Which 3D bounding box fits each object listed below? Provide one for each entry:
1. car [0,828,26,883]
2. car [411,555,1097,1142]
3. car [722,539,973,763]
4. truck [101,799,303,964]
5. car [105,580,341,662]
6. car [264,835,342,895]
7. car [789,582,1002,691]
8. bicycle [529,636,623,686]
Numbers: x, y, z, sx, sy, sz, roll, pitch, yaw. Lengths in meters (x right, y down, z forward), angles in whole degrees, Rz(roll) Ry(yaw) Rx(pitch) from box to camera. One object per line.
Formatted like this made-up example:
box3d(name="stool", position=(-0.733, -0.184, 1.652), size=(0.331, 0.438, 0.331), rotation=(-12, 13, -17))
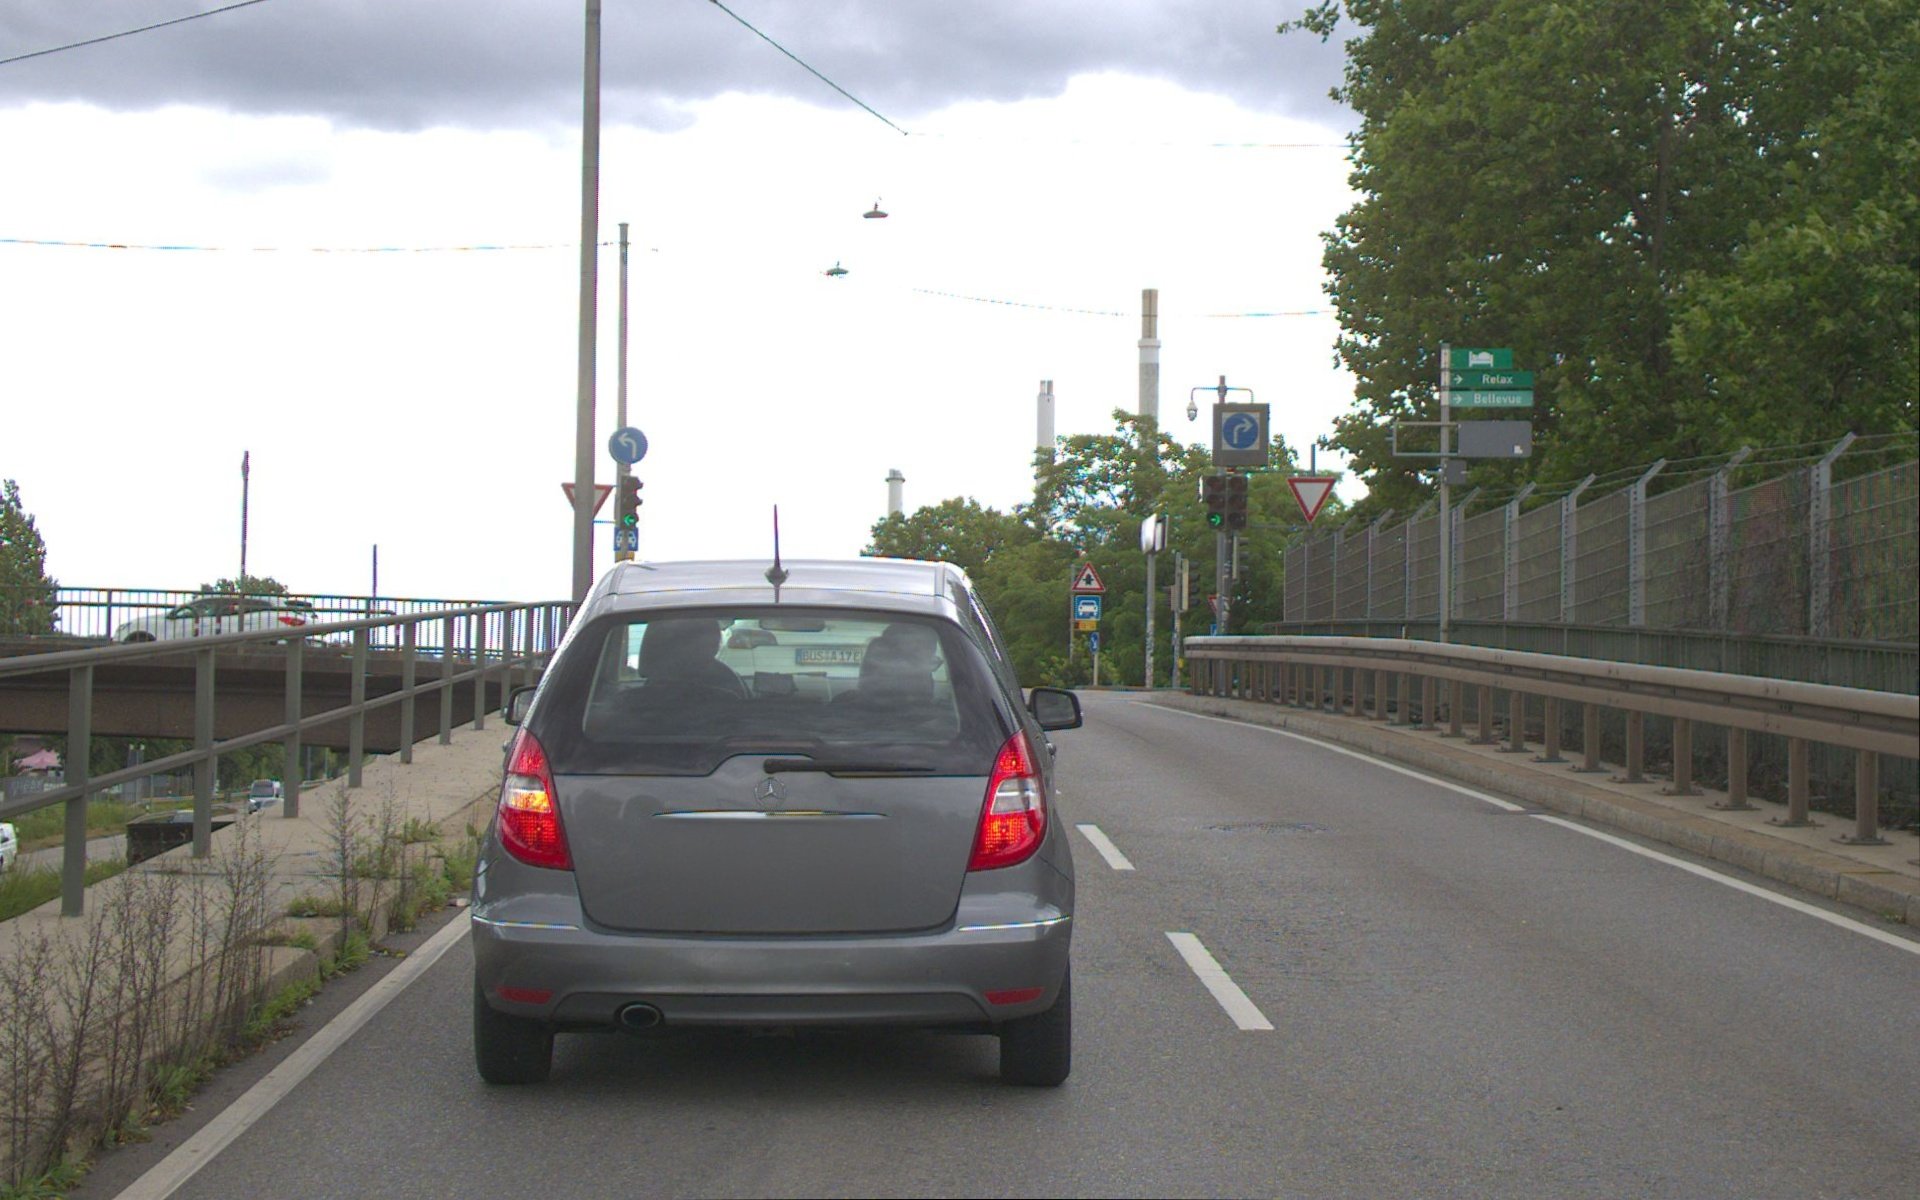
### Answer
box3d(name="car", position=(-38.767, 10.156, 137.021), size=(1.993, 2.060, 5.177), rotation=(1, -3, -4))
box3d(name="car", position=(-0.586, 0.668, 11.421), size=(1.857, 1.583, 4.000), rotation=(1, 0, -1))
box3d(name="car", position=(-1.005, 0.391, 28.885), size=(1.931, 1.711, 4.406), rotation=(1, 0, -3))
box3d(name="truck", position=(-16.304, 6.014, 74.488), size=(2.746, 3.282, 7.440), rotation=(1, -3, -1))
box3d(name="car", position=(-14.999, 0.420, 69.961), size=(4.335, 1.571, 1.837), rotation=(1, 0, 17))
box3d(name="car", position=(-23.970, 9.663, 125.578), size=(1.898, 1.996, 4.958), rotation=(1, -3, -1))
box3d(name="car", position=(-1.099, 0.573, 56.507), size=(1.931, 1.711, 4.001), rotation=(1, 0, -27))
box3d(name="bicycle", position=(-8.814, 1.402, 78.864), size=(2.032, 1.121, 0.929), rotation=(1, 0, -13))
